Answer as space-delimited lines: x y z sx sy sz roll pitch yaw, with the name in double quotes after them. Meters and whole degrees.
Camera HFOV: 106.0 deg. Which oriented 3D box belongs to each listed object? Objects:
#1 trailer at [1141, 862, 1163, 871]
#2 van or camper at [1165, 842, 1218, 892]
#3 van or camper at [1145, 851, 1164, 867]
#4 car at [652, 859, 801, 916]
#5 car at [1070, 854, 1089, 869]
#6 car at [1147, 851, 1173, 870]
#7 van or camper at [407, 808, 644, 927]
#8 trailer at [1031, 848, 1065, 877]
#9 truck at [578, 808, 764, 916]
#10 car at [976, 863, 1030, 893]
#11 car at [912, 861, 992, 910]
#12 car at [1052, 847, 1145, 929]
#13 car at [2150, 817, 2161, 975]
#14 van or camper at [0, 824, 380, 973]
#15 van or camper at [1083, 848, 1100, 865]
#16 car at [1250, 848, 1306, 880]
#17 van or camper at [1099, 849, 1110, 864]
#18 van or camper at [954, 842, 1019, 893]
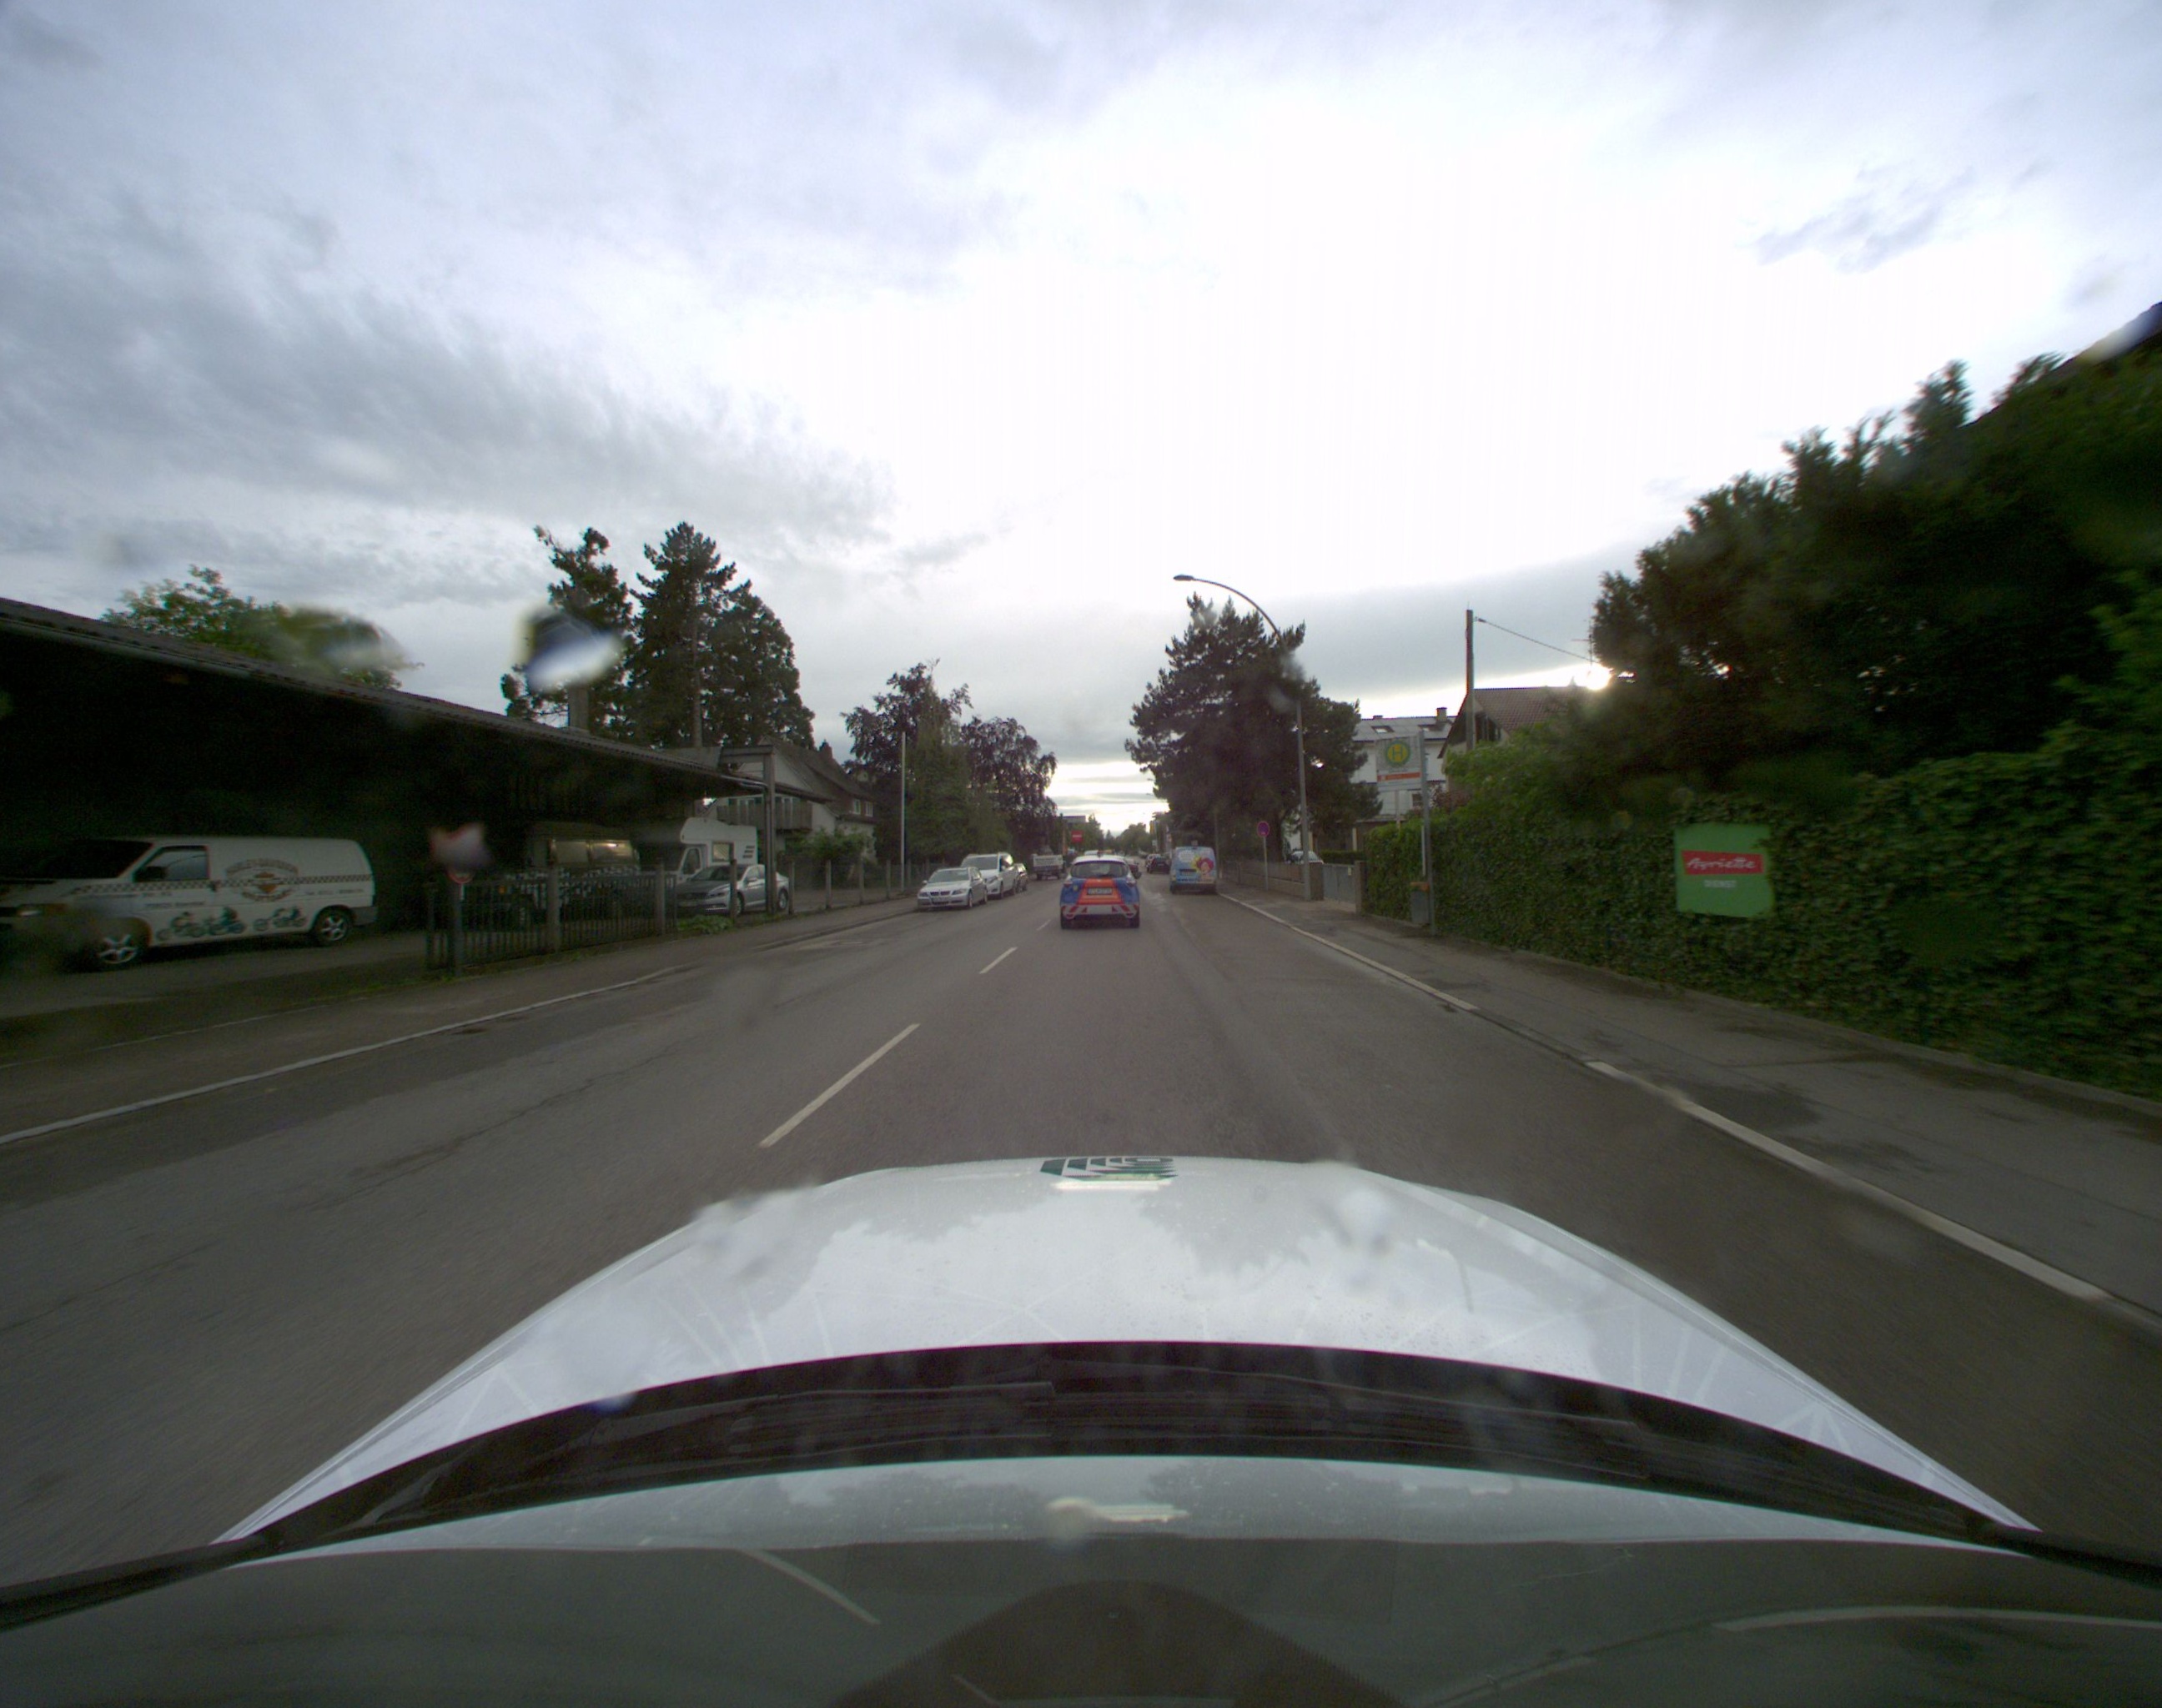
6.524 1.119 75.031 1.931 0.754 2.861 -2 0 2 "trailer"
4.416 0.502 33.048 1.747 1.883 4.002 -2 0 2 "van or camper"
8.520 0.605 94.954 1.986 1.784 4.002 -2 0 2 "van or camper"
-9.938 0.915 23.343 1.928 1.444 4.786 -1 -1 4 "car"
-0.102 0.820 92.803 1.986 1.596 4.002 -2 0 2 "car"
6.824 0.533 70.296 1.986 1.536 4.002 -2 0 2 "car"
-12.982 0.376 19.593 1.852 2.438 5.235 1 -2 2 "van or camper"
-2.400 0.695 60.915 2.212 2.014 4.437 1 -2 2 "trailer"
-12.410 0.274 25.303 2.384 2.927 5.962 1 -1 3 "truck"
-3.781 1.147 40.351 1.985 1.288 4.004 -2 0 4 "car"
-4.378 1.105 28.244 1.734 1.480 4.187 -3 -3 4 "car"
0.410 0.708 18.755 1.882 1.632 4.001 -2 0 1 "car"
9.903 0.357 5.012 1.652 1.547 4.009 -1 -2 8 "car"
-13.961 0.594 12.732 1.986 1.909 4.472 1 -1 1 "van or camper"
1.539 0.365 117.724 2.152 2.353 4.336 -2 0 2 "van or camper"
9.677 0.530 40.371 1.985 1.486 4.002 1 -2 3 "car"
4.573 0.400 156.776 1.986 2.775 5.443 -2 0 2 "van or camper"
-3.917 0.634 34.620 1.882 2.014 5.100 1 -2 3 "van or camper"
